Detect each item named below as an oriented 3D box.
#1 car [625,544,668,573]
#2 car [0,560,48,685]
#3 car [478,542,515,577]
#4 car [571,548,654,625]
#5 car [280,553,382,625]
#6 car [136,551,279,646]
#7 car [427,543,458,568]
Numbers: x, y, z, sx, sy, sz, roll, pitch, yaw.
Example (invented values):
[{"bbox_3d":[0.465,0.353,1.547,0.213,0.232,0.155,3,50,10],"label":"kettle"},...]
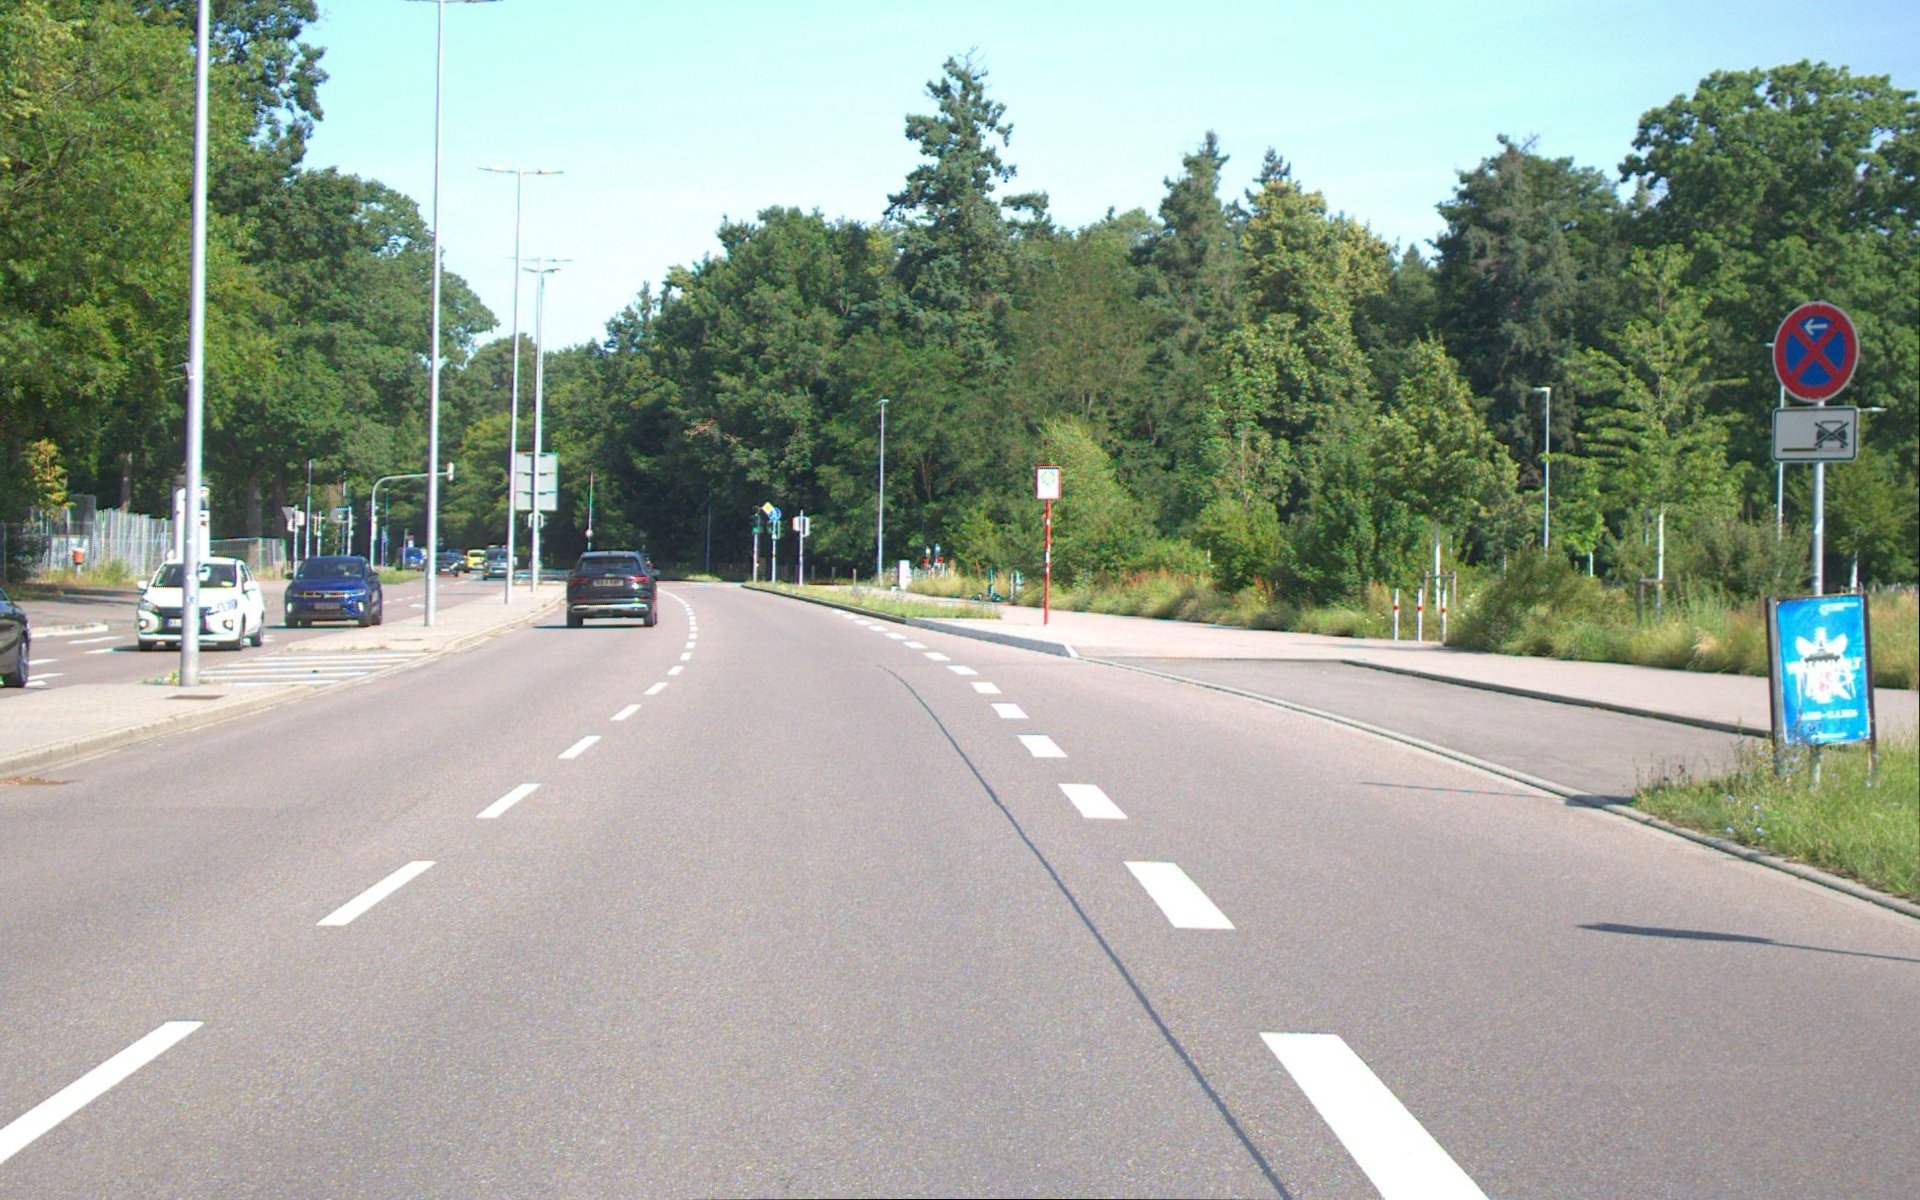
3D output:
[{"bbox_3d":[-16.344,-2.175,179.133,1.940,1.415,4.294,1,1,-9],"label":"car"},{"bbox_3d":[-11.613,0.266,38.499,1.810,1.383,4.162,-1,1,-2],"label":"car"},{"bbox_3d":[-26.226,-2.286,194.633,1.841,1.925,4.630,0,1,-5],"label":"car"},{"bbox_3d":[-7.301,-0.305,71.972,1.687,1.539,4.149,0,1,-6],"label":"car"},{"bbox_3d":[-13.548,-0.260,74.182,1.753,1.481,3.948,-1,1,-5],"label":"car"},{"bbox_3d":[-12.179,-0.046,55.830,1.623,1.461,3.801,-1,1,-3],"label":"car"},{"bbox_3d":[-32.449,-2.796,215.696,1.793,1.473,4.001,1,1,-7],"label":"car"}]
